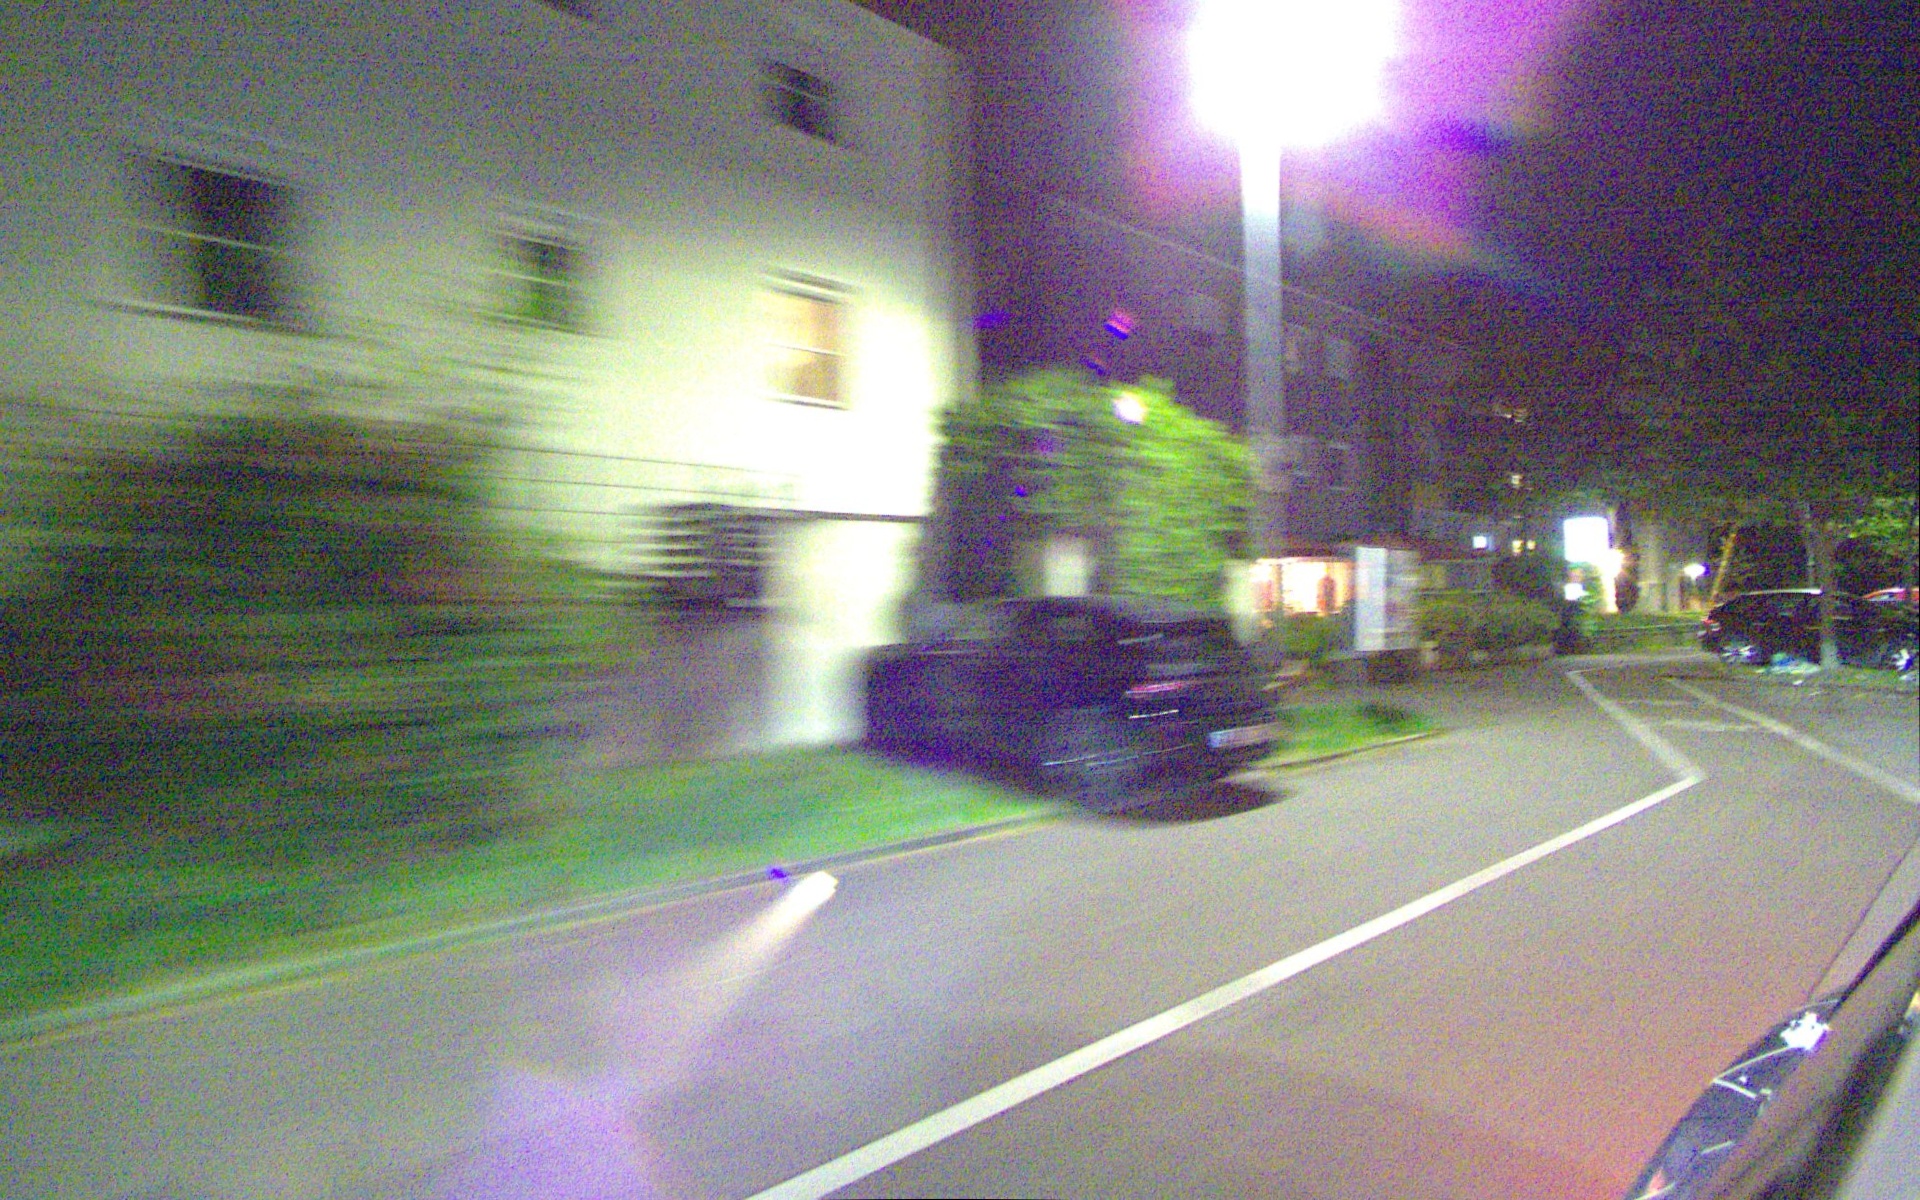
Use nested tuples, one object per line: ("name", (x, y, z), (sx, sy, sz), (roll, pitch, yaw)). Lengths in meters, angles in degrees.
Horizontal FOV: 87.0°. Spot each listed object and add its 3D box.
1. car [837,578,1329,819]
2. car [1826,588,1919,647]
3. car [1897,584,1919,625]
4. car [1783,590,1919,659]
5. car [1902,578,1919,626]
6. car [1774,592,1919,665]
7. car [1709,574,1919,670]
("car", (0.817, 0.591, 8.505), (1.801, 1.504, 3.911), (0, 1, -41))
("car", (26.620, 0.468, 27.841), (1.950, 1.571, 3.927), (0, 0, -37))
("car", (46.318, 0.220, 46.090), (2.221, 1.868, 5.151), (0, 0, -41))
("car", (22.362, 0.560, 24.212), (1.823, 1.533, 3.922), (-1, 1, -42))
("car", (44.528, 0.095, 43.938), (2.221, 2.123, 5.151), (0, 0, -41))
("car", (20.632, 0.600, 22.384), (1.824, 1.533, 3.919), (0, 0, -44))
("car", (18.426, 0.401, 20.894), (1.993, 1.839, 4.369), (0, 0, -35))
